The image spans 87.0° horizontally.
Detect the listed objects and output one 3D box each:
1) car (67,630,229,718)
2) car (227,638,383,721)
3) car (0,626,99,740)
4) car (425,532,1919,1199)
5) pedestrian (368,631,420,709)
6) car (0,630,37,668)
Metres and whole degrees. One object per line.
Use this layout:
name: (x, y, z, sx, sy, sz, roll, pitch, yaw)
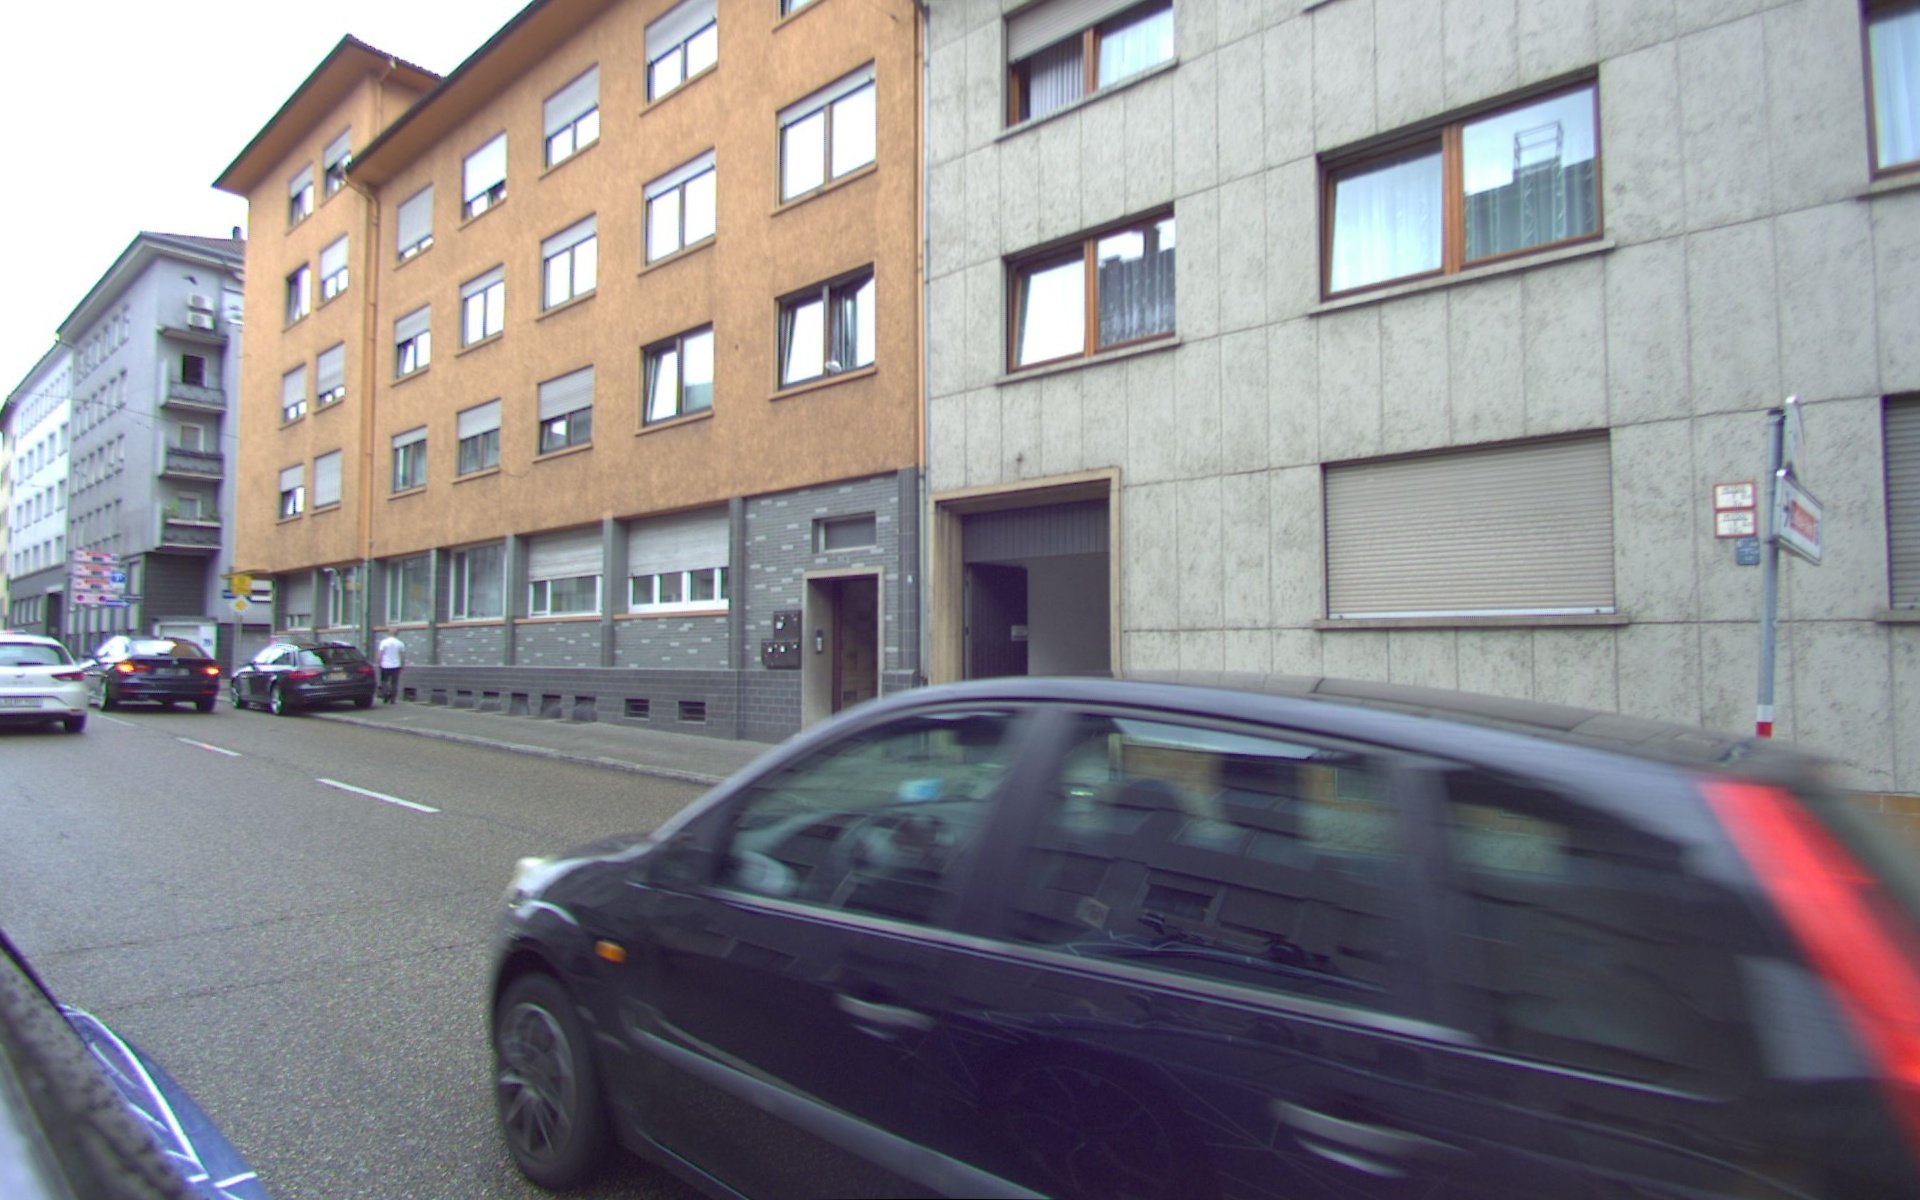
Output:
car: (-16.871, 1.493, 20.948, 4.433, 1.551, 1.677, -1, -6, 40)
car: (-14.254, 1.639, 21.937, 4.216, 1.485, 1.776, -1, 0, 41)
car: (-14.683, 1.170, 15.353, 4.049, 1.551, 1.727, -1, -4, 40)
car: (0.608, 0.767, 2.258, 4.213, 1.551, 1.602, -1, -4, 39)
pedestrian: (-12.684, 1.546, 22.668, 0.757, 1.652, 1.024, -1, 0, -44)
car: (-46.480, 2.370, 49.274, 4.216, 1.735, 1.832, -1, 0, 41)
